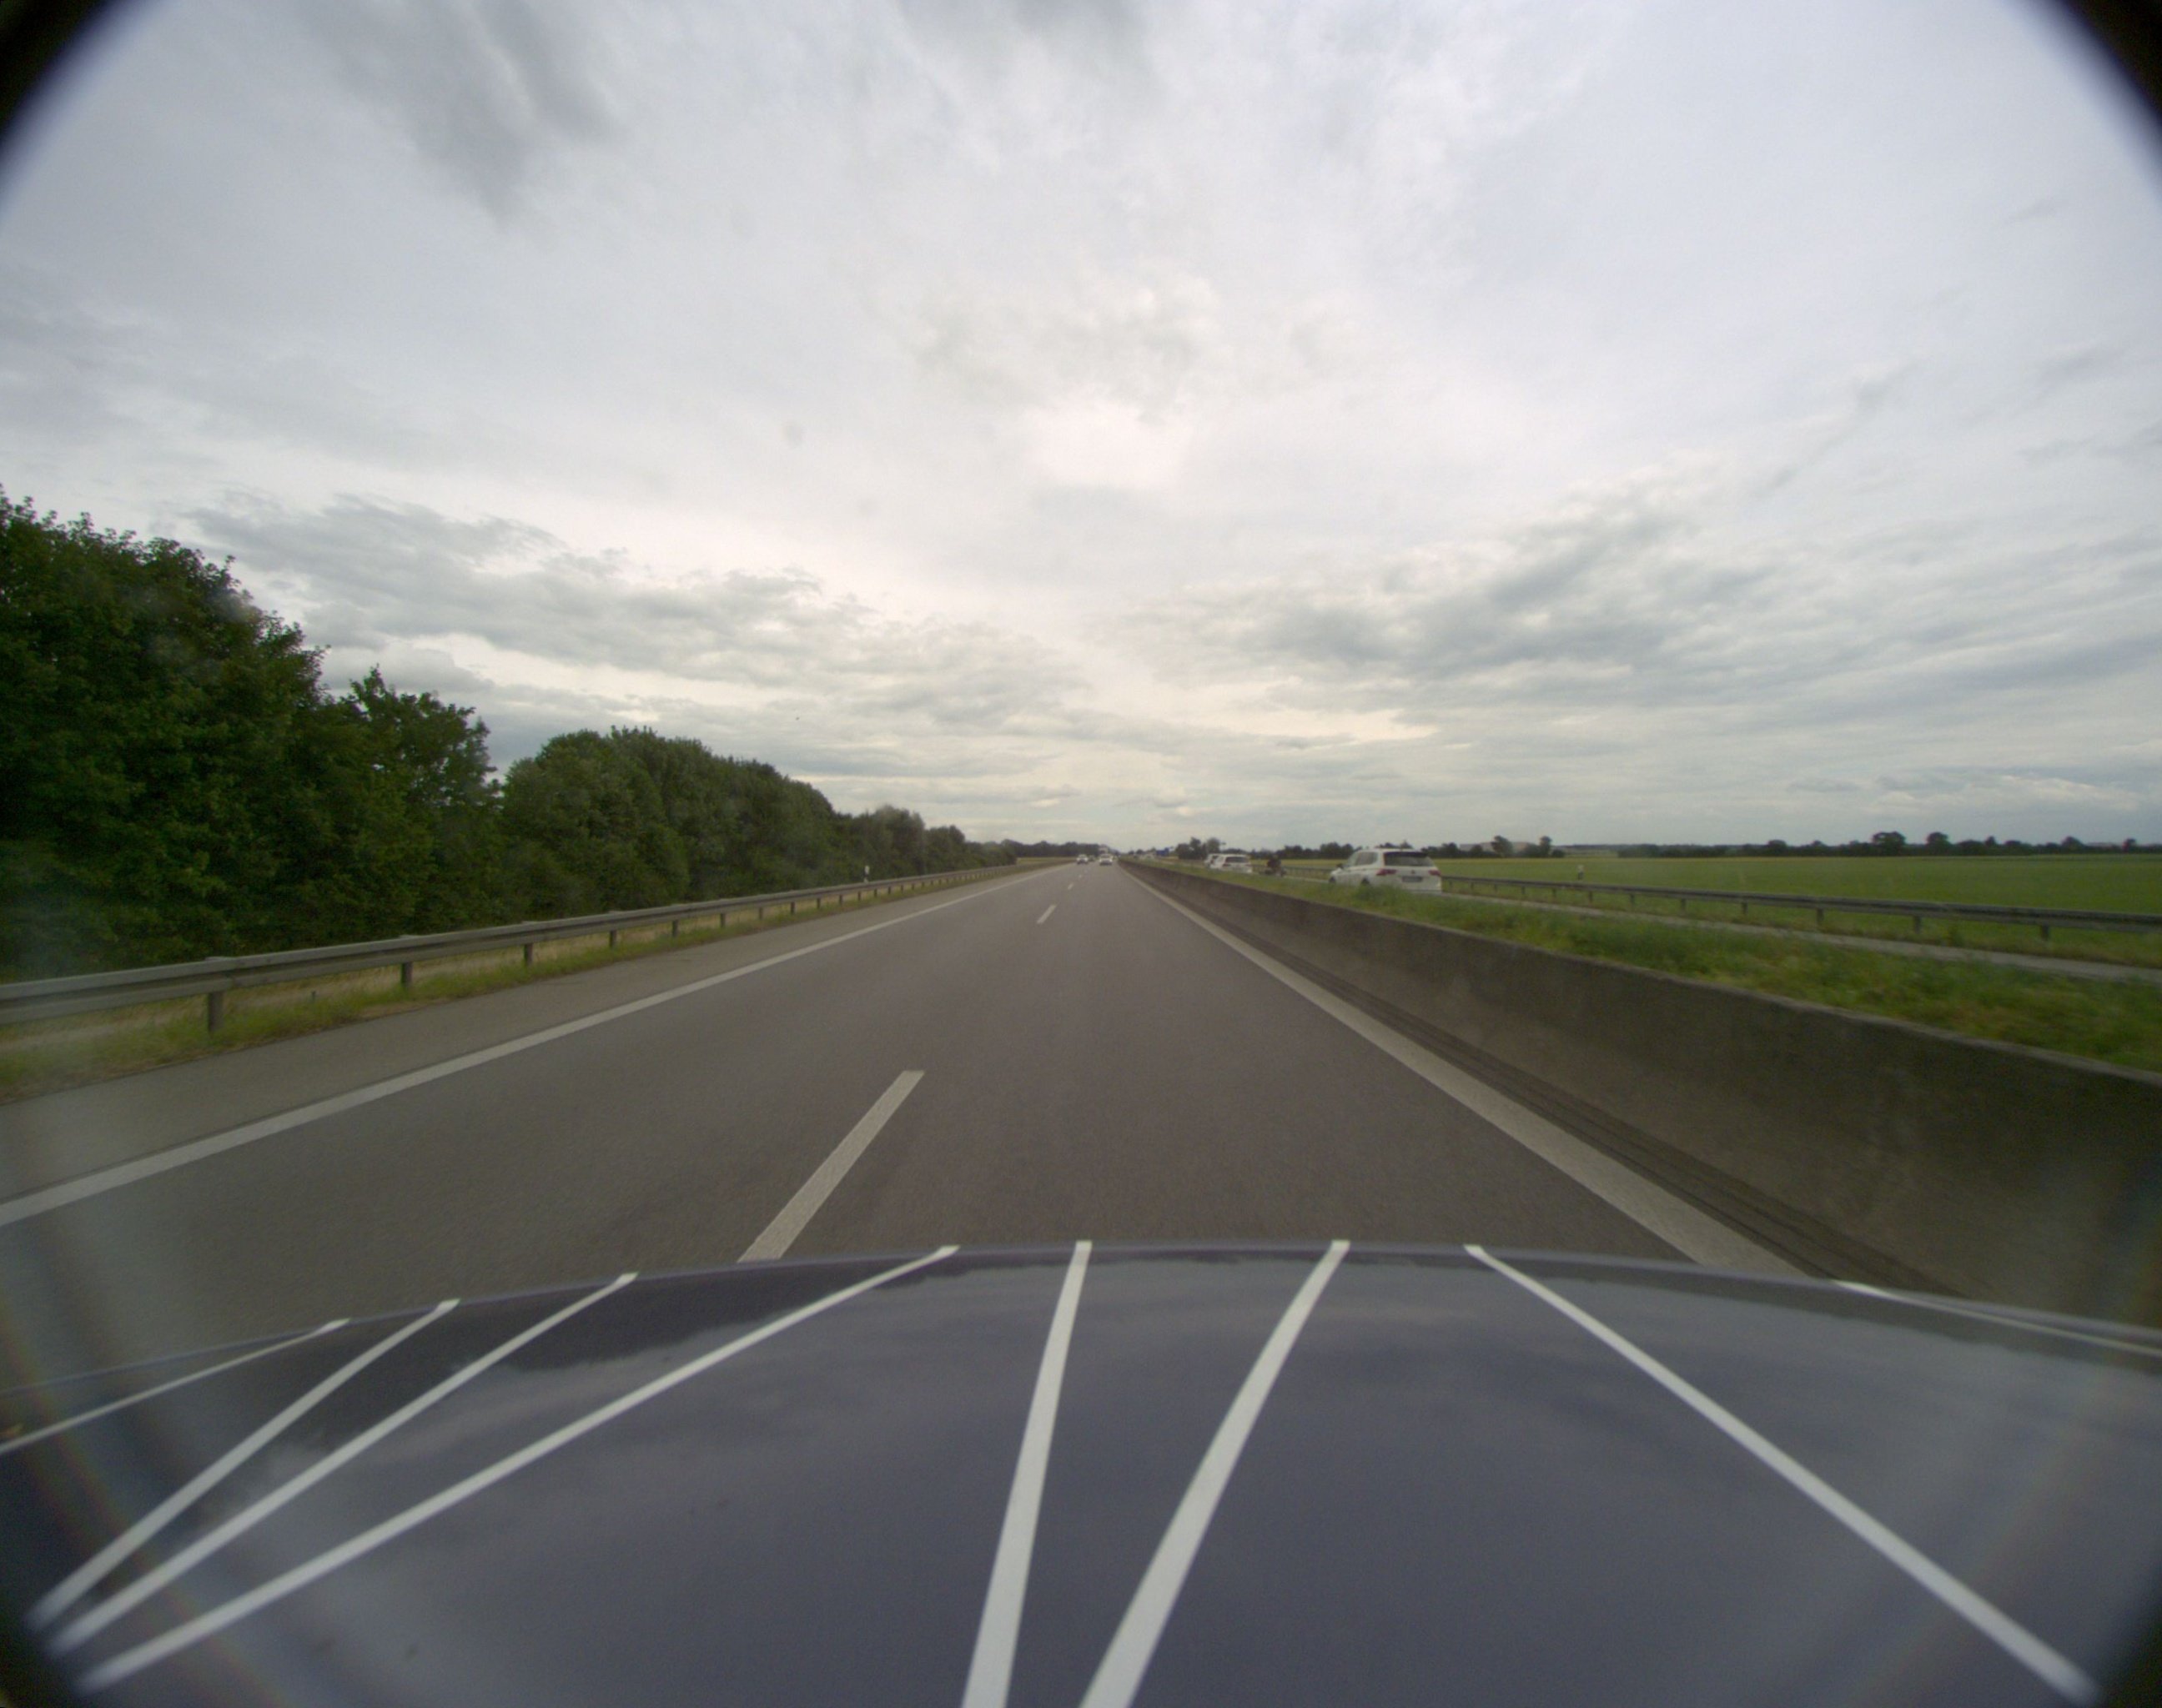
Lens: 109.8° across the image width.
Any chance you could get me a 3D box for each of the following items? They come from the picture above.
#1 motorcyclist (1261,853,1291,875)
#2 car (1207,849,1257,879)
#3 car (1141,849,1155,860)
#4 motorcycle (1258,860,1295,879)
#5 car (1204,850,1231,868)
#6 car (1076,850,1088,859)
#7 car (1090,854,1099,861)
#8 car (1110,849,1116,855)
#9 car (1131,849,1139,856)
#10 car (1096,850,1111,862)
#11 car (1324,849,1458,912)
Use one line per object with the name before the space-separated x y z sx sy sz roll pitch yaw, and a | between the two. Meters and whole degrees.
motorcyclist | 12.378 0.644 48.189 1.570 1.363 1.252 1 1 1
car | 8.386 0.504 42.617 1.870 1.565 4.989 0 0 0
car | 10.979 0.081 124.910 1.952 1.684 5.174 1 1 1
motorcycle | 12.377 0.974 48.213 1.570 1.072 2.982 1 1 1
car | 13.169 0.472 73.561 1.840 1.617 4.691 1 1 1
car | 0.203 0.088 131.639 1.916 1.553 4.288 -1 1 2
car | 3.200 0.824 175.020 1.916 1.553 4.288 -1 1 2
car | 9.627 -0.613 228.629 1.916 1.553 4.288 -1 1 2
car | 14.168 -0.343 199.311 1.845 1.684 4.358 1 1 1
car | 3.236 0.292 109.427 1.916 1.553 4.286 -1 1 -3
car | 8.578 0.662 21.551 1.870 1.565 4.693 0 0 0
